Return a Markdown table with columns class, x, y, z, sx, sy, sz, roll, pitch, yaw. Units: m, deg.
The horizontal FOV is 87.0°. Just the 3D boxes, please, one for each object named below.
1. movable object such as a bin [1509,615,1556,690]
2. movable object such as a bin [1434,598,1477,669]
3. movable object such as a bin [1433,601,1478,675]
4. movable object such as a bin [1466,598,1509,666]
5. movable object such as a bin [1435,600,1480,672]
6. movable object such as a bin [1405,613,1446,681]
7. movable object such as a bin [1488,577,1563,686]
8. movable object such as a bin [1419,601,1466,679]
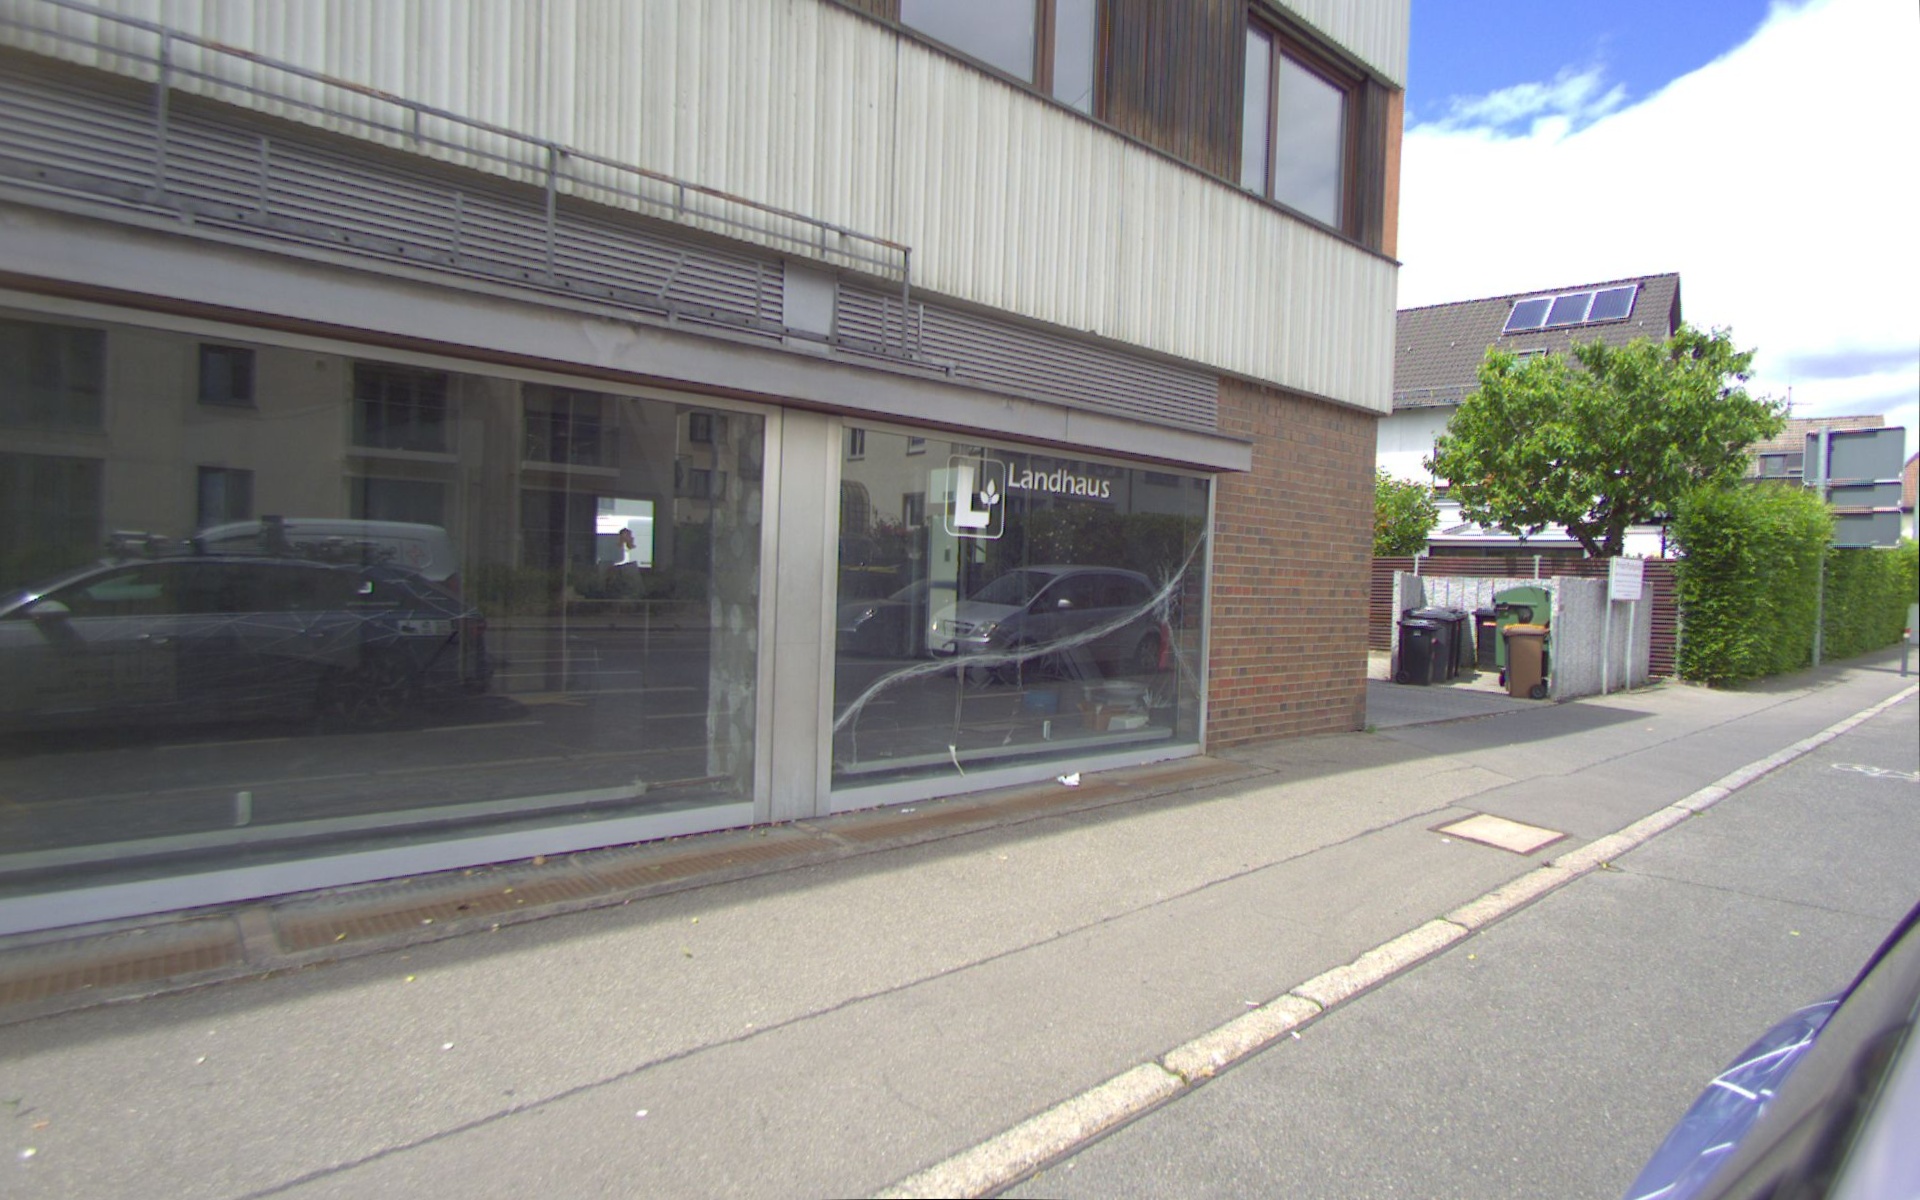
| class | x | y | z | sx | sy | sz | roll | pitch | yaw |
| --- | --- | --- | --- | --- | --- | --- | --- | --- | --- |
| movable object such as a bin | 7.493 | 0.679 | 13.254 | 0.514 | 0.933 | 0.474 | 1 | 1 | 31 |
| movable object such as a bin | 7.937 | 0.526 | 16.229 | 0.590 | 1.088 | 0.485 | 1 | 1 | 25 |
| movable object such as a bin | 7.479 | 0.562 | 15.293 | 0.590 | 1.088 | 0.485 | 1 | 1 | 25 |
| movable object such as a bin | 8.733 | 0.512 | 16.753 | 0.591 | 1.088 | 0.484 | 1 | 1 | 30 |
| movable object such as a bin | 7.730 | 0.549 | 15.740 | 0.590 | 1.088 | 0.485 | 1 | 1 | 25 |
| movable object such as a bin | 6.656 | 0.658 | 14.484 | 0.513 | 0.933 | 0.475 | 1 | 1 | 25 |
| movable object such as a bin | 7.915 | 0.417 | 14.166 | 0.471 | 1.473 | 0.808 | 0 | 1 | -45 |
| movable object such as a bin | 7.082 | 0.574 | 14.869 | 0.590 | 1.088 | 0.485 | 1 | 1 | 25 |
